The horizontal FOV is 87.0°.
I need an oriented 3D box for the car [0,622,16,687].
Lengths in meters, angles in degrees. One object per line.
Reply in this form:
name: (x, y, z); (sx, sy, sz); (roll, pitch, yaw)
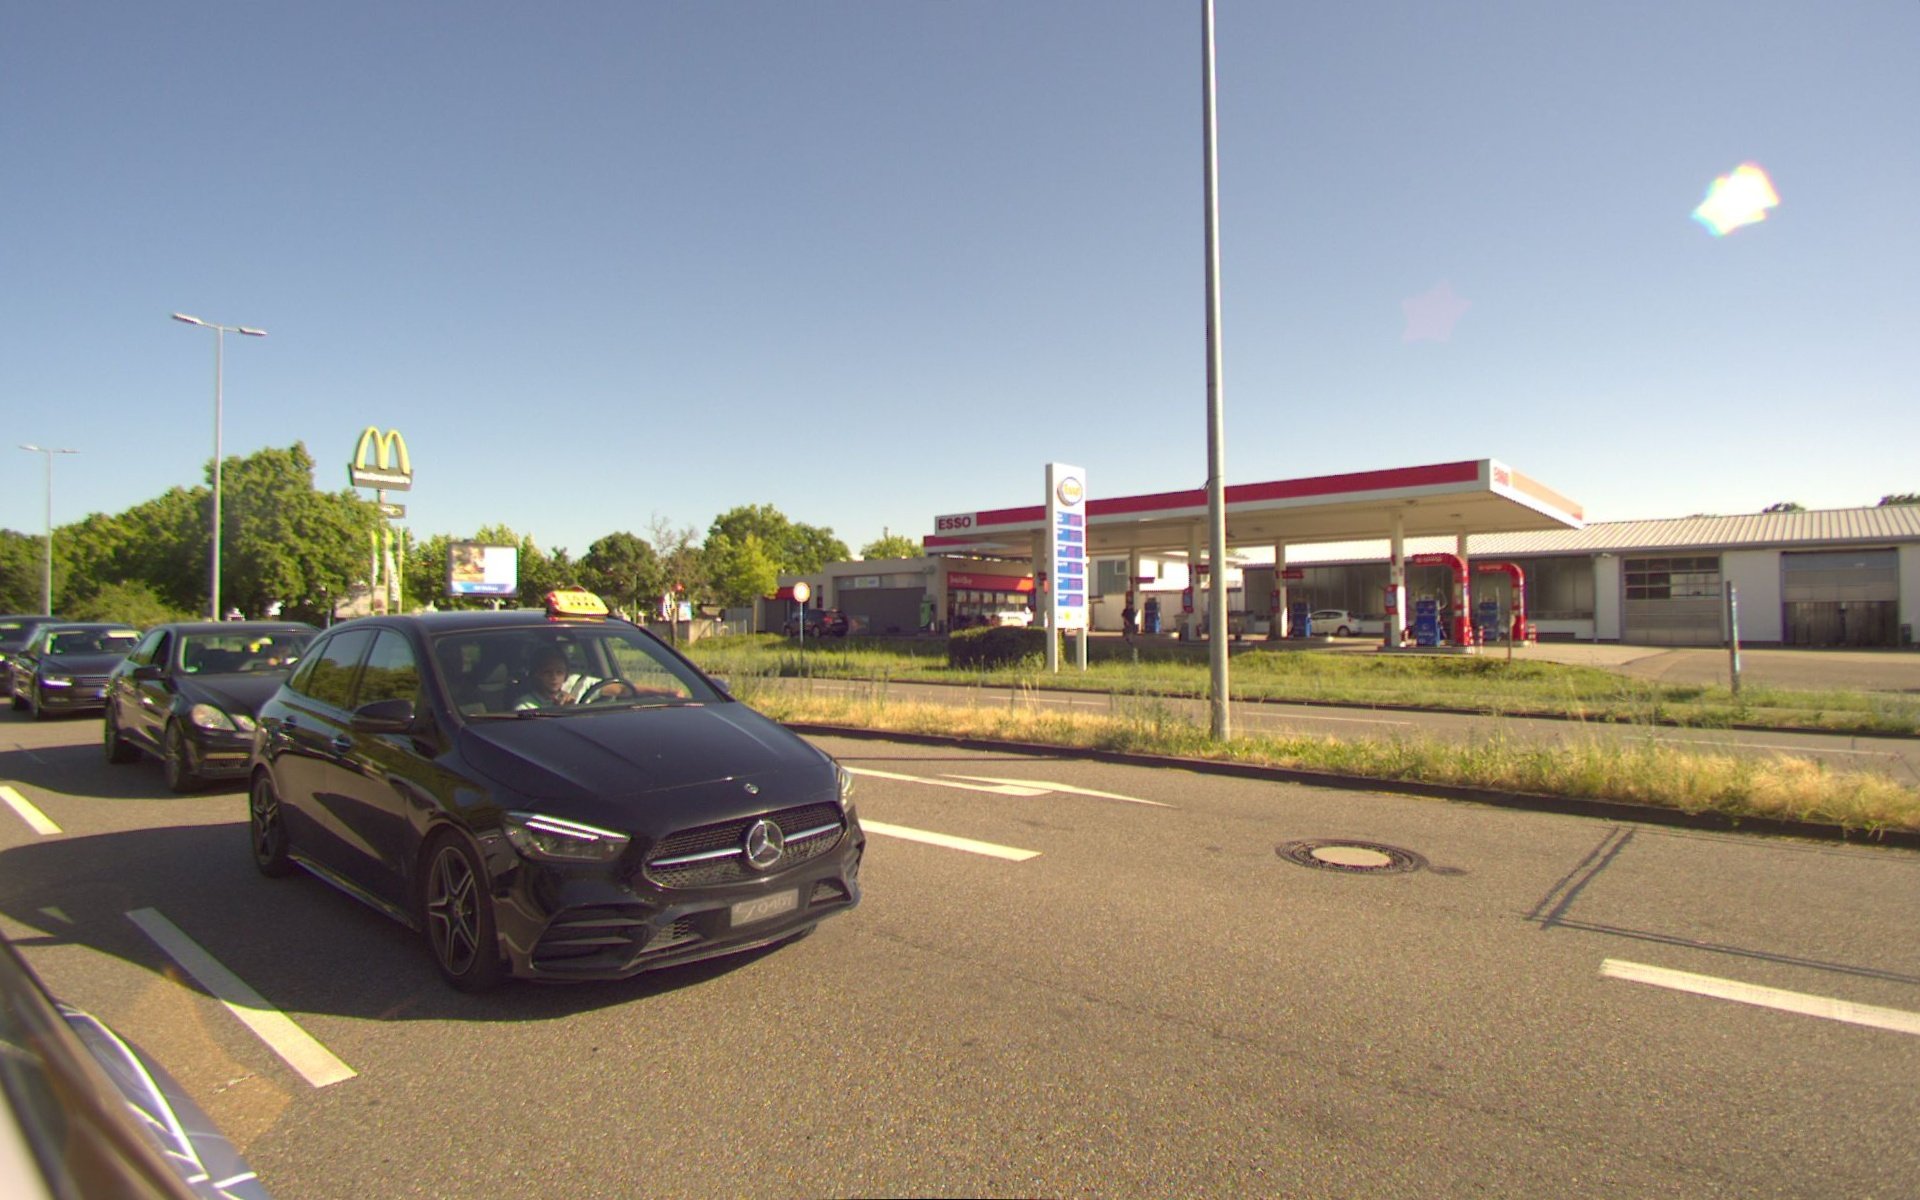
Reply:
car: (-25.215, 1.376, 25.540); (3.774, 1.567, 1.615); (-1, -1, 40)

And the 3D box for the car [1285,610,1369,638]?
car: (19.845, 1.302, 54.839); (3.975, 1.420, 1.661); (-1, -4, 40)

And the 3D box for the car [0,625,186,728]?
car: (-14.443, 1.160, 16.693); (4.284, 1.438, 1.775); (-1, 0, 40)

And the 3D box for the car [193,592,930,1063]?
car: (-2.375, 0.743, 5.334); (4.400, 1.502, 1.741); (-1, 0, 40)

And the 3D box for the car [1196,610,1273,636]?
car: (15.843, 1.353, 58.581); (3.975, 1.420, 1.661); (-1, -4, 40)

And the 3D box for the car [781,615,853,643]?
car: (-7.796, 1.562, 54.983); (3.975, 1.420, 1.661); (-1, -4, 40)

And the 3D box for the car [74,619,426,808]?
car: (-7.252, 0.937, 10.161); (4.400, 1.449, 1.845); (-1, 0, 40)

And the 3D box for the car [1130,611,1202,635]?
car: (12.445, 1.397, 61.380); (3.975, 1.420, 1.661); (-1, -4, 40)

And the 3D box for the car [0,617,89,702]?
car: (-19.930, 1.210, 21.442); (3.876, 1.629, 1.653); (-2, -1, 40)

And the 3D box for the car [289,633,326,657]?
car: (-40.224, 2.776, 62.368); (1.735, 1.420, 3.988); (3, -3, -35)

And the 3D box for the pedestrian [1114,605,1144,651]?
pedestrian: (6.649, 1.094, 39.870); (0.902, 1.763, 0.781); (-1, 0, 38)

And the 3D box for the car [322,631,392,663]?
car: (-29.614, 2.297, 49.673); (3.975, 1.420, 1.741); (-1, -4, 40)
